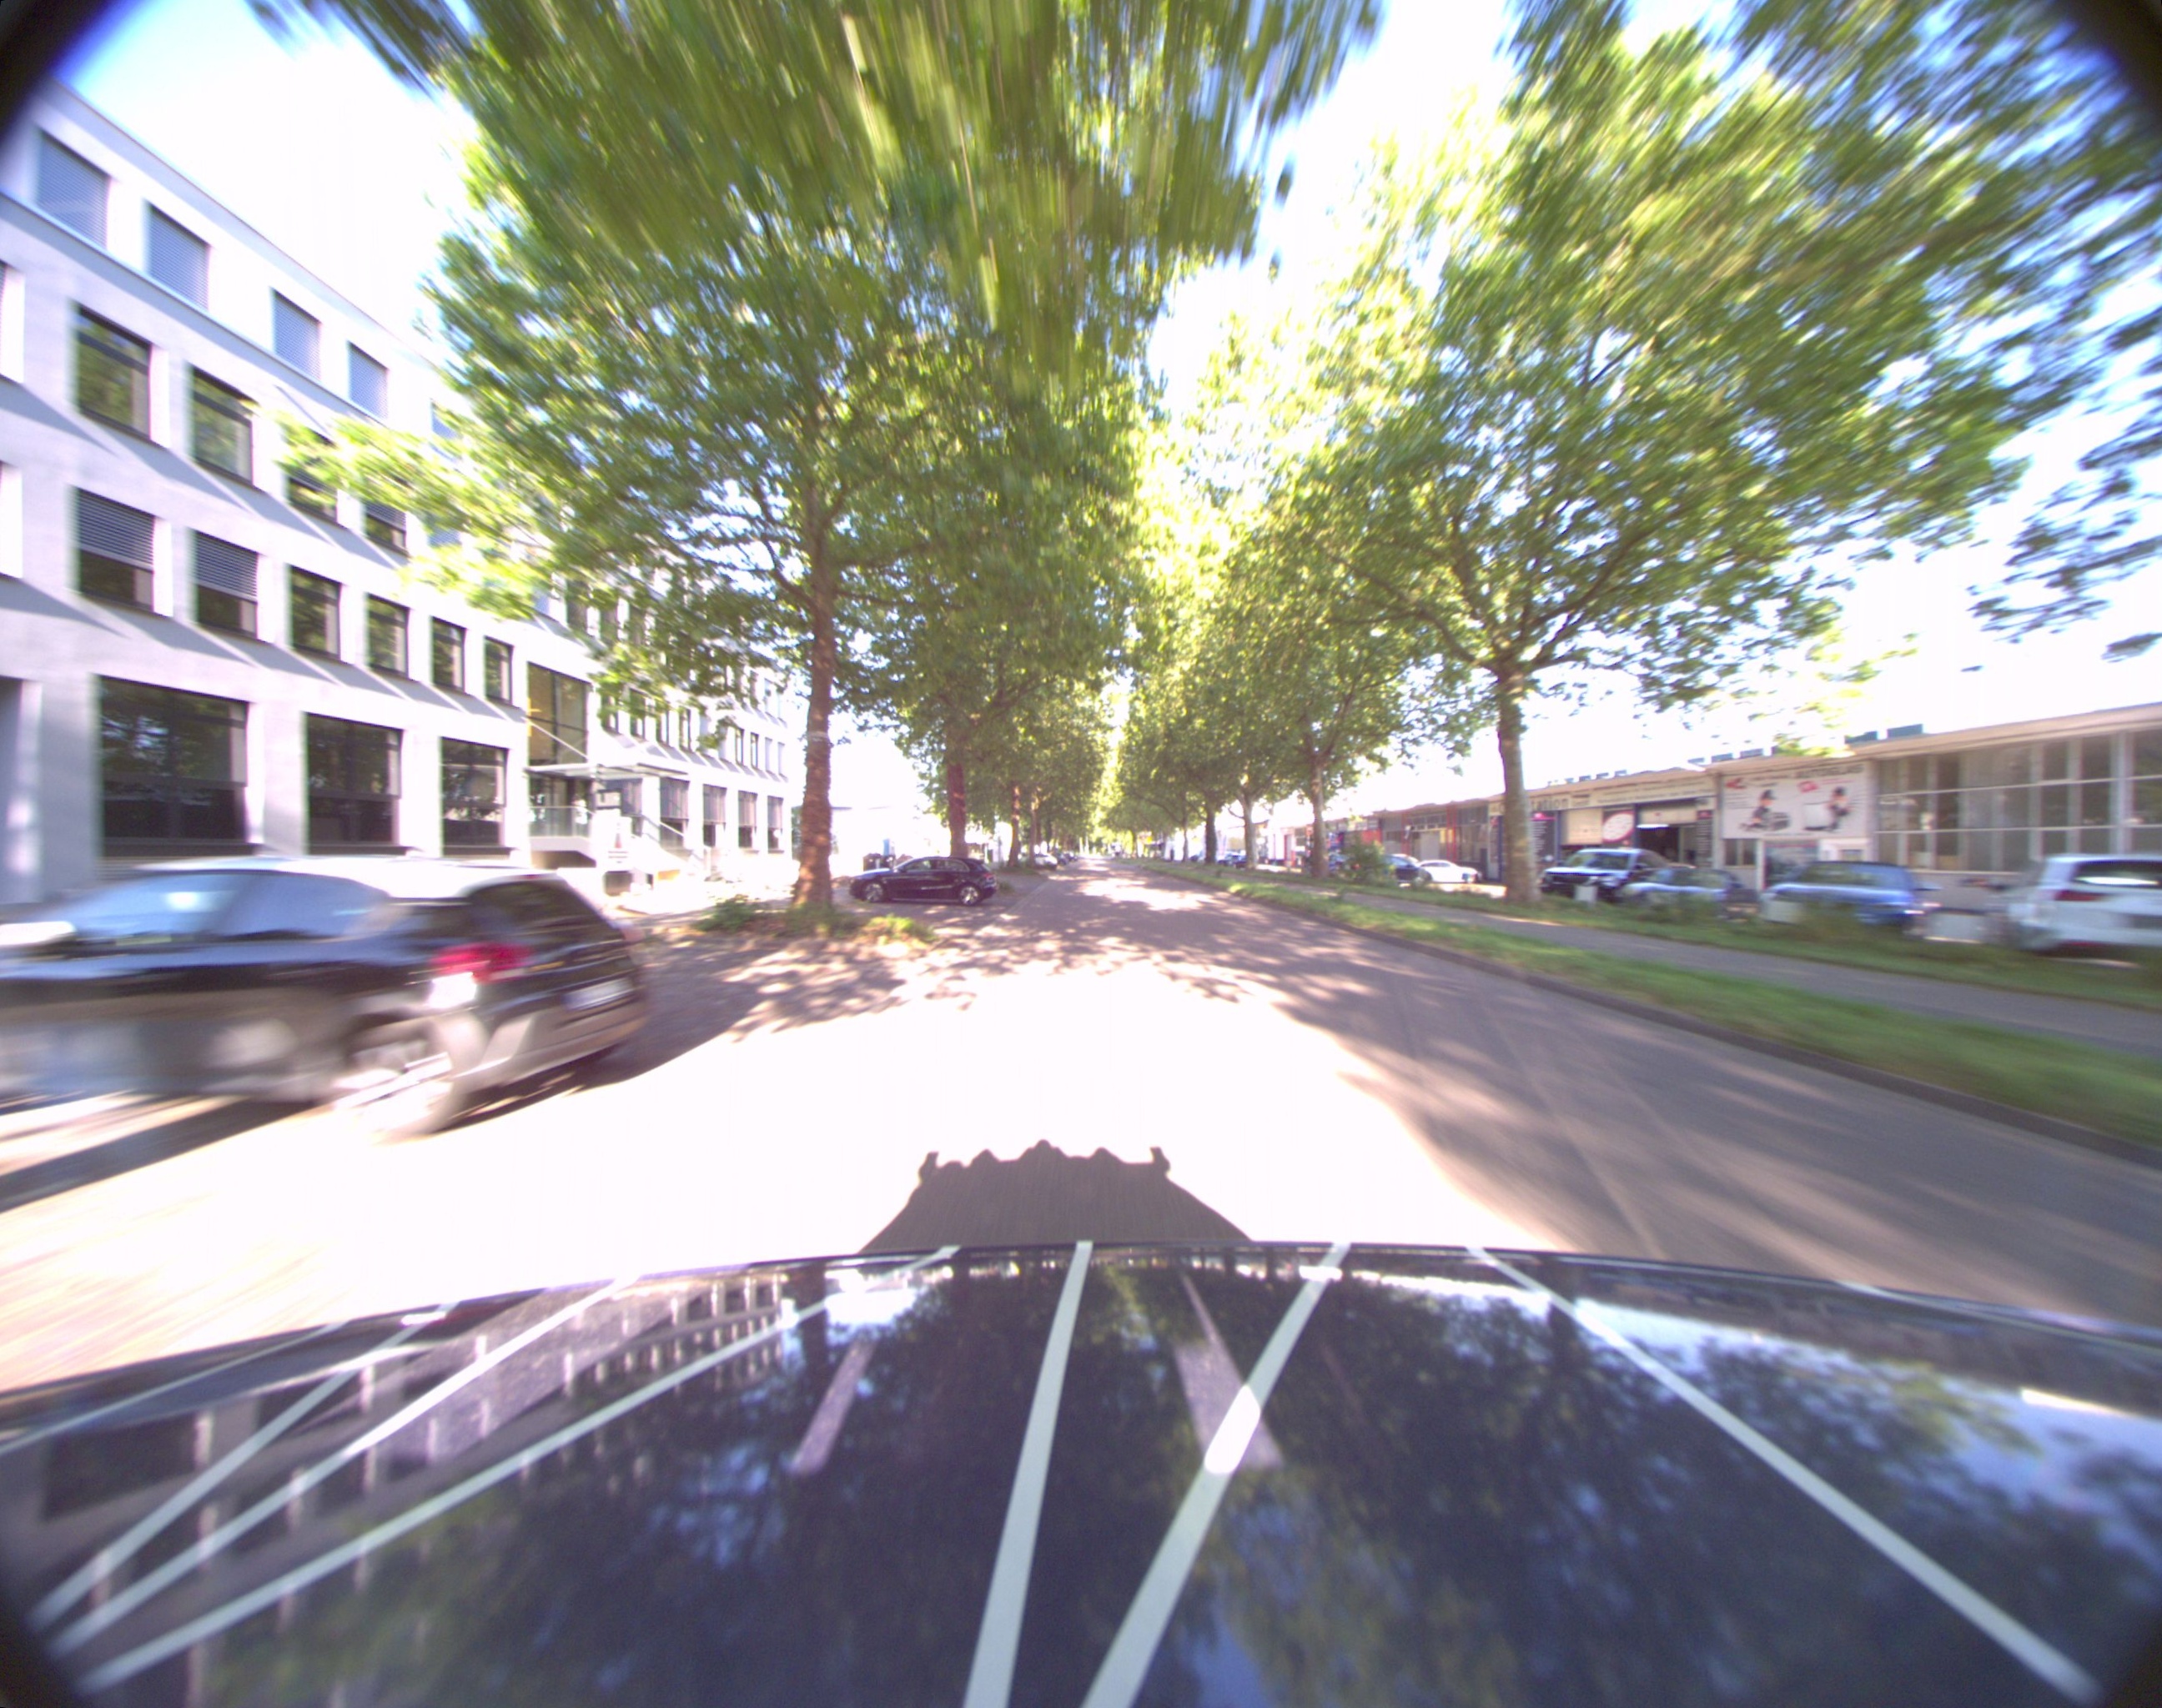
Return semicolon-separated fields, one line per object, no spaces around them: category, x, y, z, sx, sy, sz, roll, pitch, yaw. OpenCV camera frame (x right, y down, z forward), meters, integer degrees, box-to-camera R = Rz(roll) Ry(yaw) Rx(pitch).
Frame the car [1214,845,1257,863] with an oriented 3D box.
car;14.205;-0.008;69.625;3.850;1.566;1.994;-3;2;-45

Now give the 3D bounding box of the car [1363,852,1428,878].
car;22.065;0.779;53.357;3.989;1.696;2.003;-1;1;28

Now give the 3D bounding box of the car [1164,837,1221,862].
car;14.290;-0.544;97.356;6.972;2.835;2.595;3;-1;-28

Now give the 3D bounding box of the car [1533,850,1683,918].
car;13.824;0.698;19.863;4.270;1.444;1.995;-3;2;-37

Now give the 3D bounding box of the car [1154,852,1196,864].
car;15.668;0.679;126.886;6.429;1.669;2.722;3;-1;-18

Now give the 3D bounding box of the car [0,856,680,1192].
car;-4.889;0.855;4.682;3.794;1.477;1.860;3;1;-1

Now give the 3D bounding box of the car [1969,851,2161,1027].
car;12.833;0.889;9.411;1.994;1.689;4.271;-1;2;44

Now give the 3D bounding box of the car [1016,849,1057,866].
car;-4.373;0.327;75.498;3.944;1.505;1.666;2;1;0

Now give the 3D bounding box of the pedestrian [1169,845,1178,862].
pedestrian;9.587;-0.053;78.777;0.805;1.763;0.940;-2;2;2

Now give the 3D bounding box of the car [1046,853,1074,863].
car;-3.431;0.711;125.085;4.296;1.410;2.000;2;1;3

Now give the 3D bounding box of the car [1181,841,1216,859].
car;13.020;-0.484;83.829;1.994;1.829;4.257;-1;2;38

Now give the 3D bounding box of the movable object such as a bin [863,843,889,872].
movable object such as a bin;-9.816;0.138;36.455;0.749;1.343;1.620;-2;1;1

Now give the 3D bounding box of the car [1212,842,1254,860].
car;15.710;-0.322;78.363;4.321;1.741;1.994;-3;2;-43

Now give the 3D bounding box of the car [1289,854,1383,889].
car;14.359;0.939;42.820;4.905;1.750;1.996;-2;1;-23

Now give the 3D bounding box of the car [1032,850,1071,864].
car;-3.504;0.389;88.931;4.405;1.410;1.999;2;1;-5

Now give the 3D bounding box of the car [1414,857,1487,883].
car;22.916;0.998;47.141;3.989;1.434;2.003;-1;1;28

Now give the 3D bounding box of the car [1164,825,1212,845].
car;15.232;-2.690;108.364;6.338;2.482;2.595;3;-1;-29

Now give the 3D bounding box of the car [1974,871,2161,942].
car;22.121;1.104;16.484;3.289;1.377;1.556;-1;2;35

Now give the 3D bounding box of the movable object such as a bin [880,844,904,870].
movable object such as a bin;-9.716;0.138;39.142;0.749;1.256;1.611;-2;1;1

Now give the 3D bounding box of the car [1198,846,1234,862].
car;14.171;0.008;79.616;1.994;1.562;4.059;-1;2;38

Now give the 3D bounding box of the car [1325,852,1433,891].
car;13.508;0.769;34.428;4.355;1.521;1.996;-2;1;-23

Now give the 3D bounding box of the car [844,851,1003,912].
car;-4.595;0.788;22.673;4.295;1.477;1.860;3;1;-1

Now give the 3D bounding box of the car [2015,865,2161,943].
car;21.056;0.955;14.819;3.288;1.398;1.712;-1;2;39

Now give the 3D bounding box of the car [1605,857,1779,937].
car;13.411;0.833;16.599;4.270;1.374;1.995;-3;2;-37

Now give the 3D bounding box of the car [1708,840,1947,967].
car;12.747;0.698;12.941;4.006;1.740;1.995;-2;1;-31
